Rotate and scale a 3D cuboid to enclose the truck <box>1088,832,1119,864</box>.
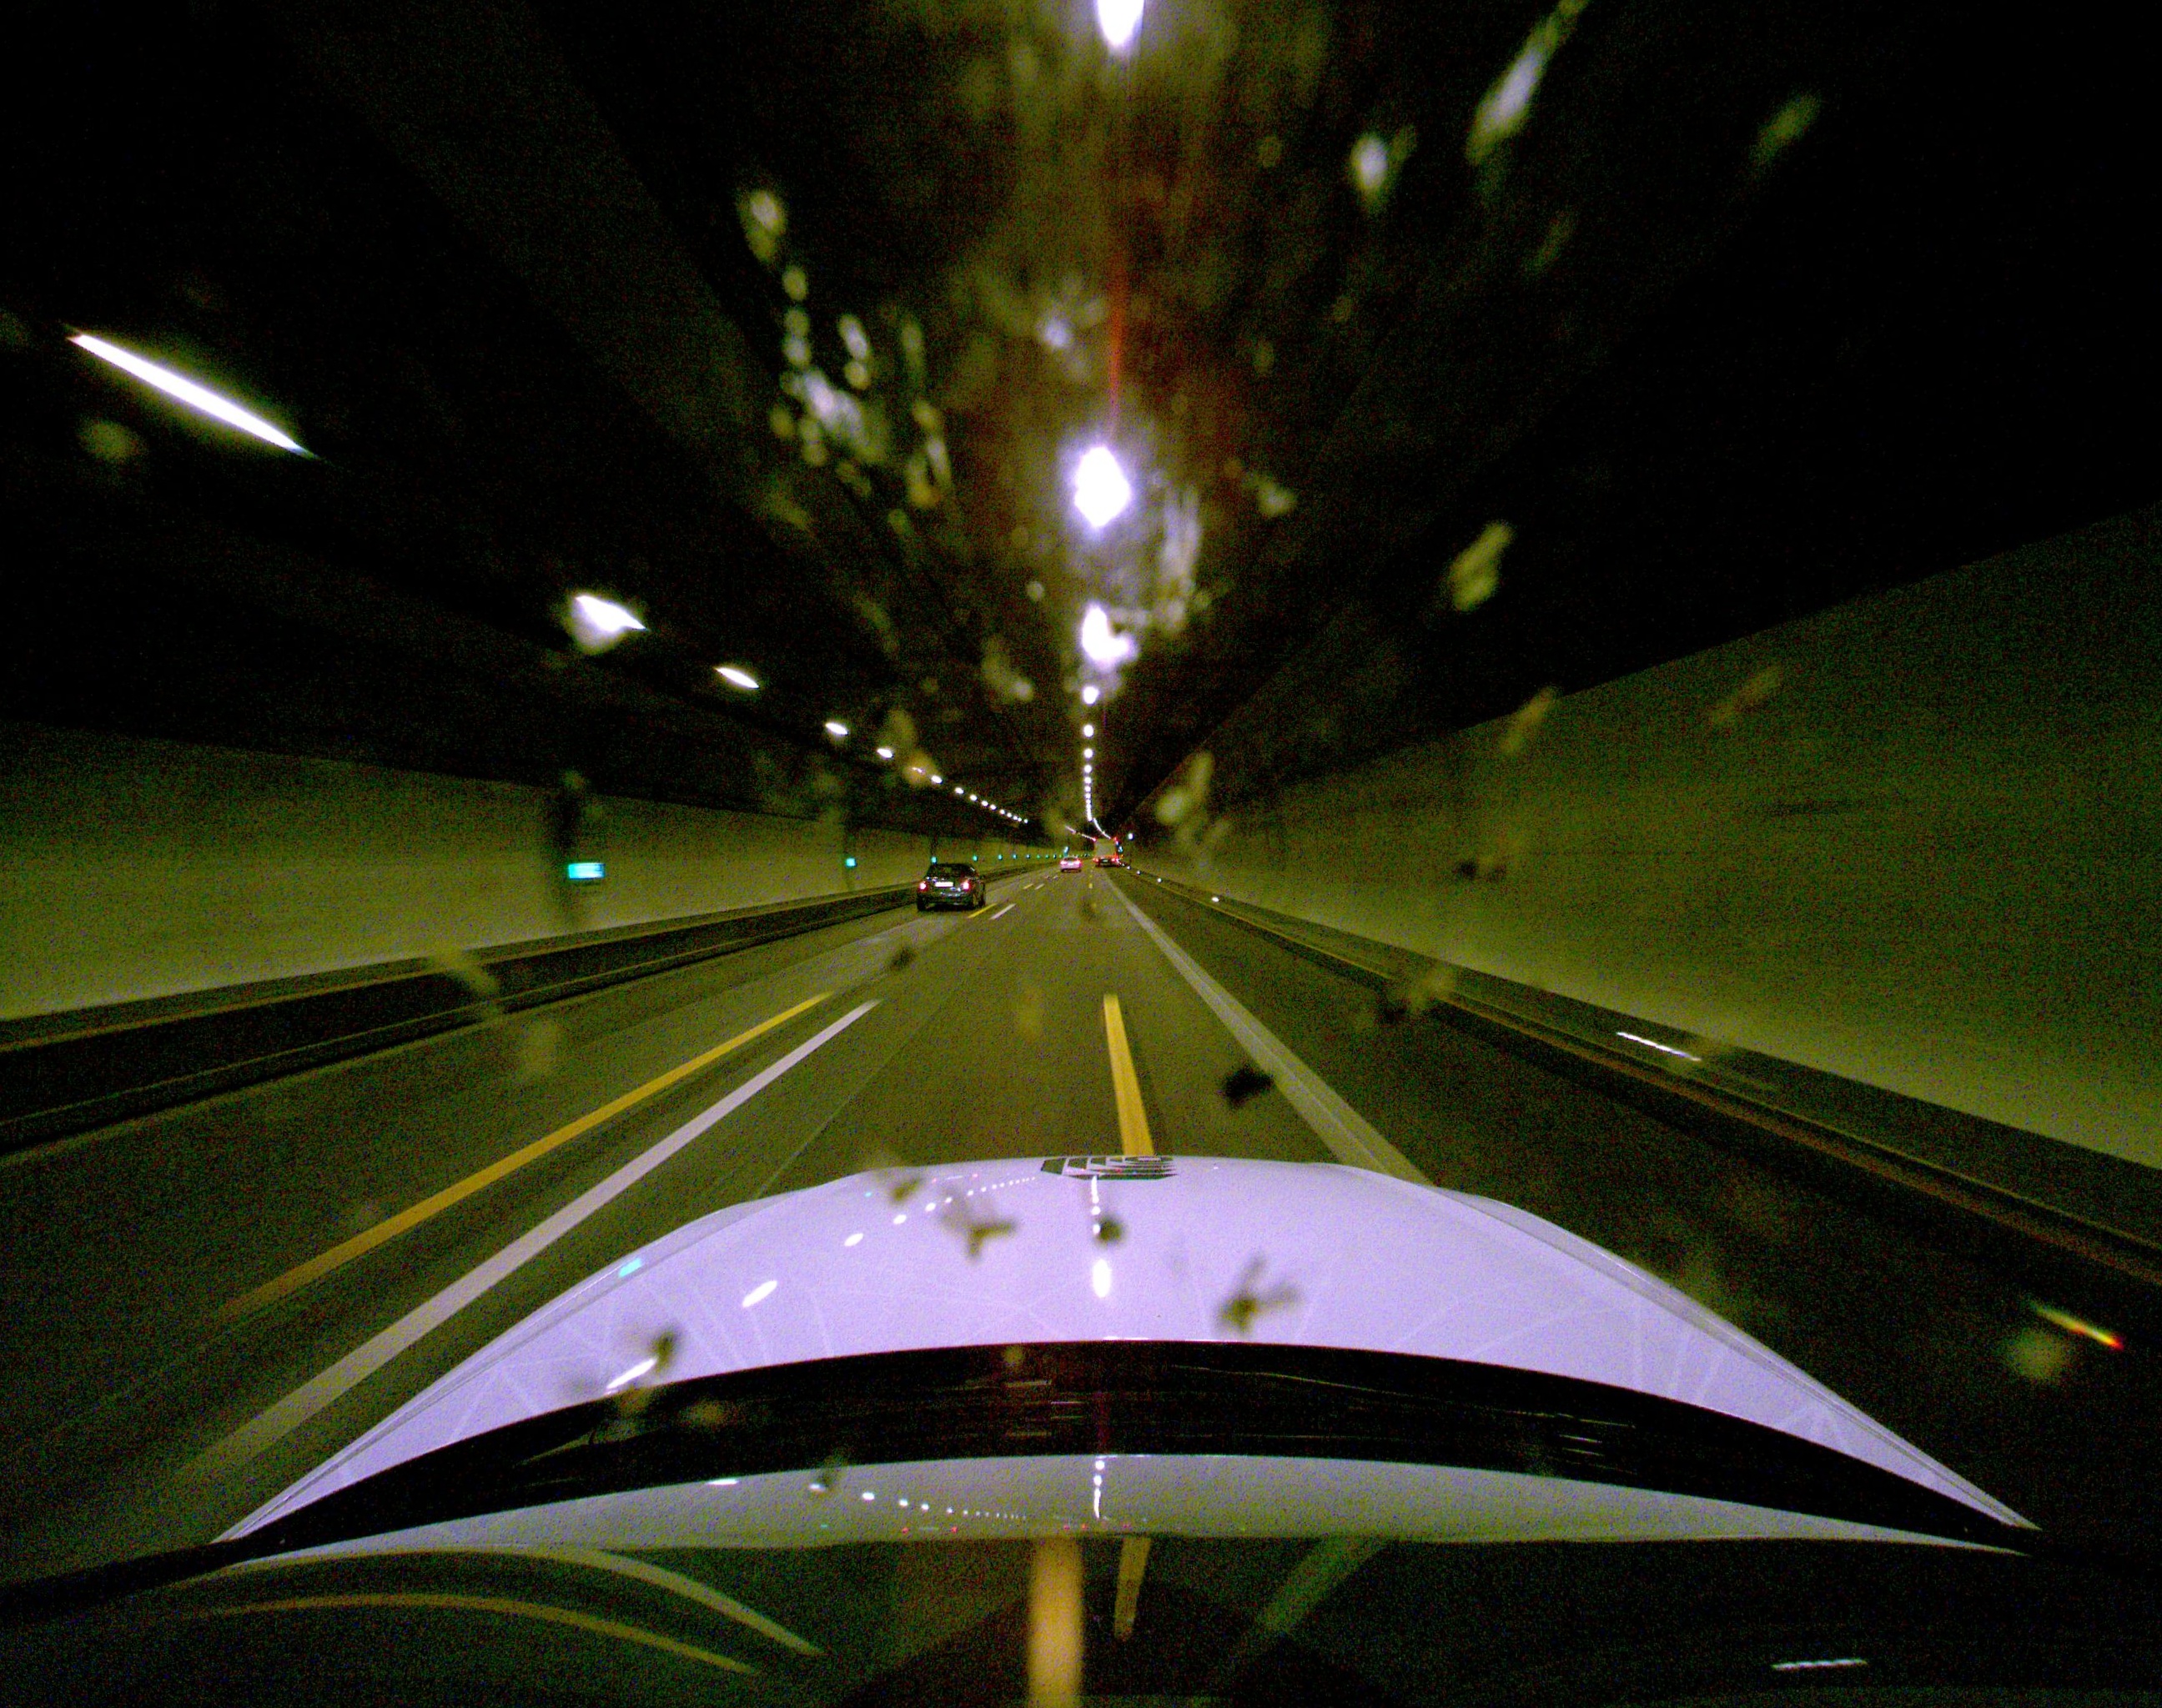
[{"bbox_3d":[2.803,-0.714,100.759,3.579,3.650,10.727,0,0,2],"label":"truck"}]

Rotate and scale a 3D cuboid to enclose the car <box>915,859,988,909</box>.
[{"bbox_3d":[-3.930,0.871,25.266,1.684,1.417,3.921,0,0,-1],"label":"car"}]

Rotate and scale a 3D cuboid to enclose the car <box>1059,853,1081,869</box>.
[{"bbox_3d":[-1.012,0.635,74.784,1.988,1.413,4.739,0,0,-2],"label":"car"}]
